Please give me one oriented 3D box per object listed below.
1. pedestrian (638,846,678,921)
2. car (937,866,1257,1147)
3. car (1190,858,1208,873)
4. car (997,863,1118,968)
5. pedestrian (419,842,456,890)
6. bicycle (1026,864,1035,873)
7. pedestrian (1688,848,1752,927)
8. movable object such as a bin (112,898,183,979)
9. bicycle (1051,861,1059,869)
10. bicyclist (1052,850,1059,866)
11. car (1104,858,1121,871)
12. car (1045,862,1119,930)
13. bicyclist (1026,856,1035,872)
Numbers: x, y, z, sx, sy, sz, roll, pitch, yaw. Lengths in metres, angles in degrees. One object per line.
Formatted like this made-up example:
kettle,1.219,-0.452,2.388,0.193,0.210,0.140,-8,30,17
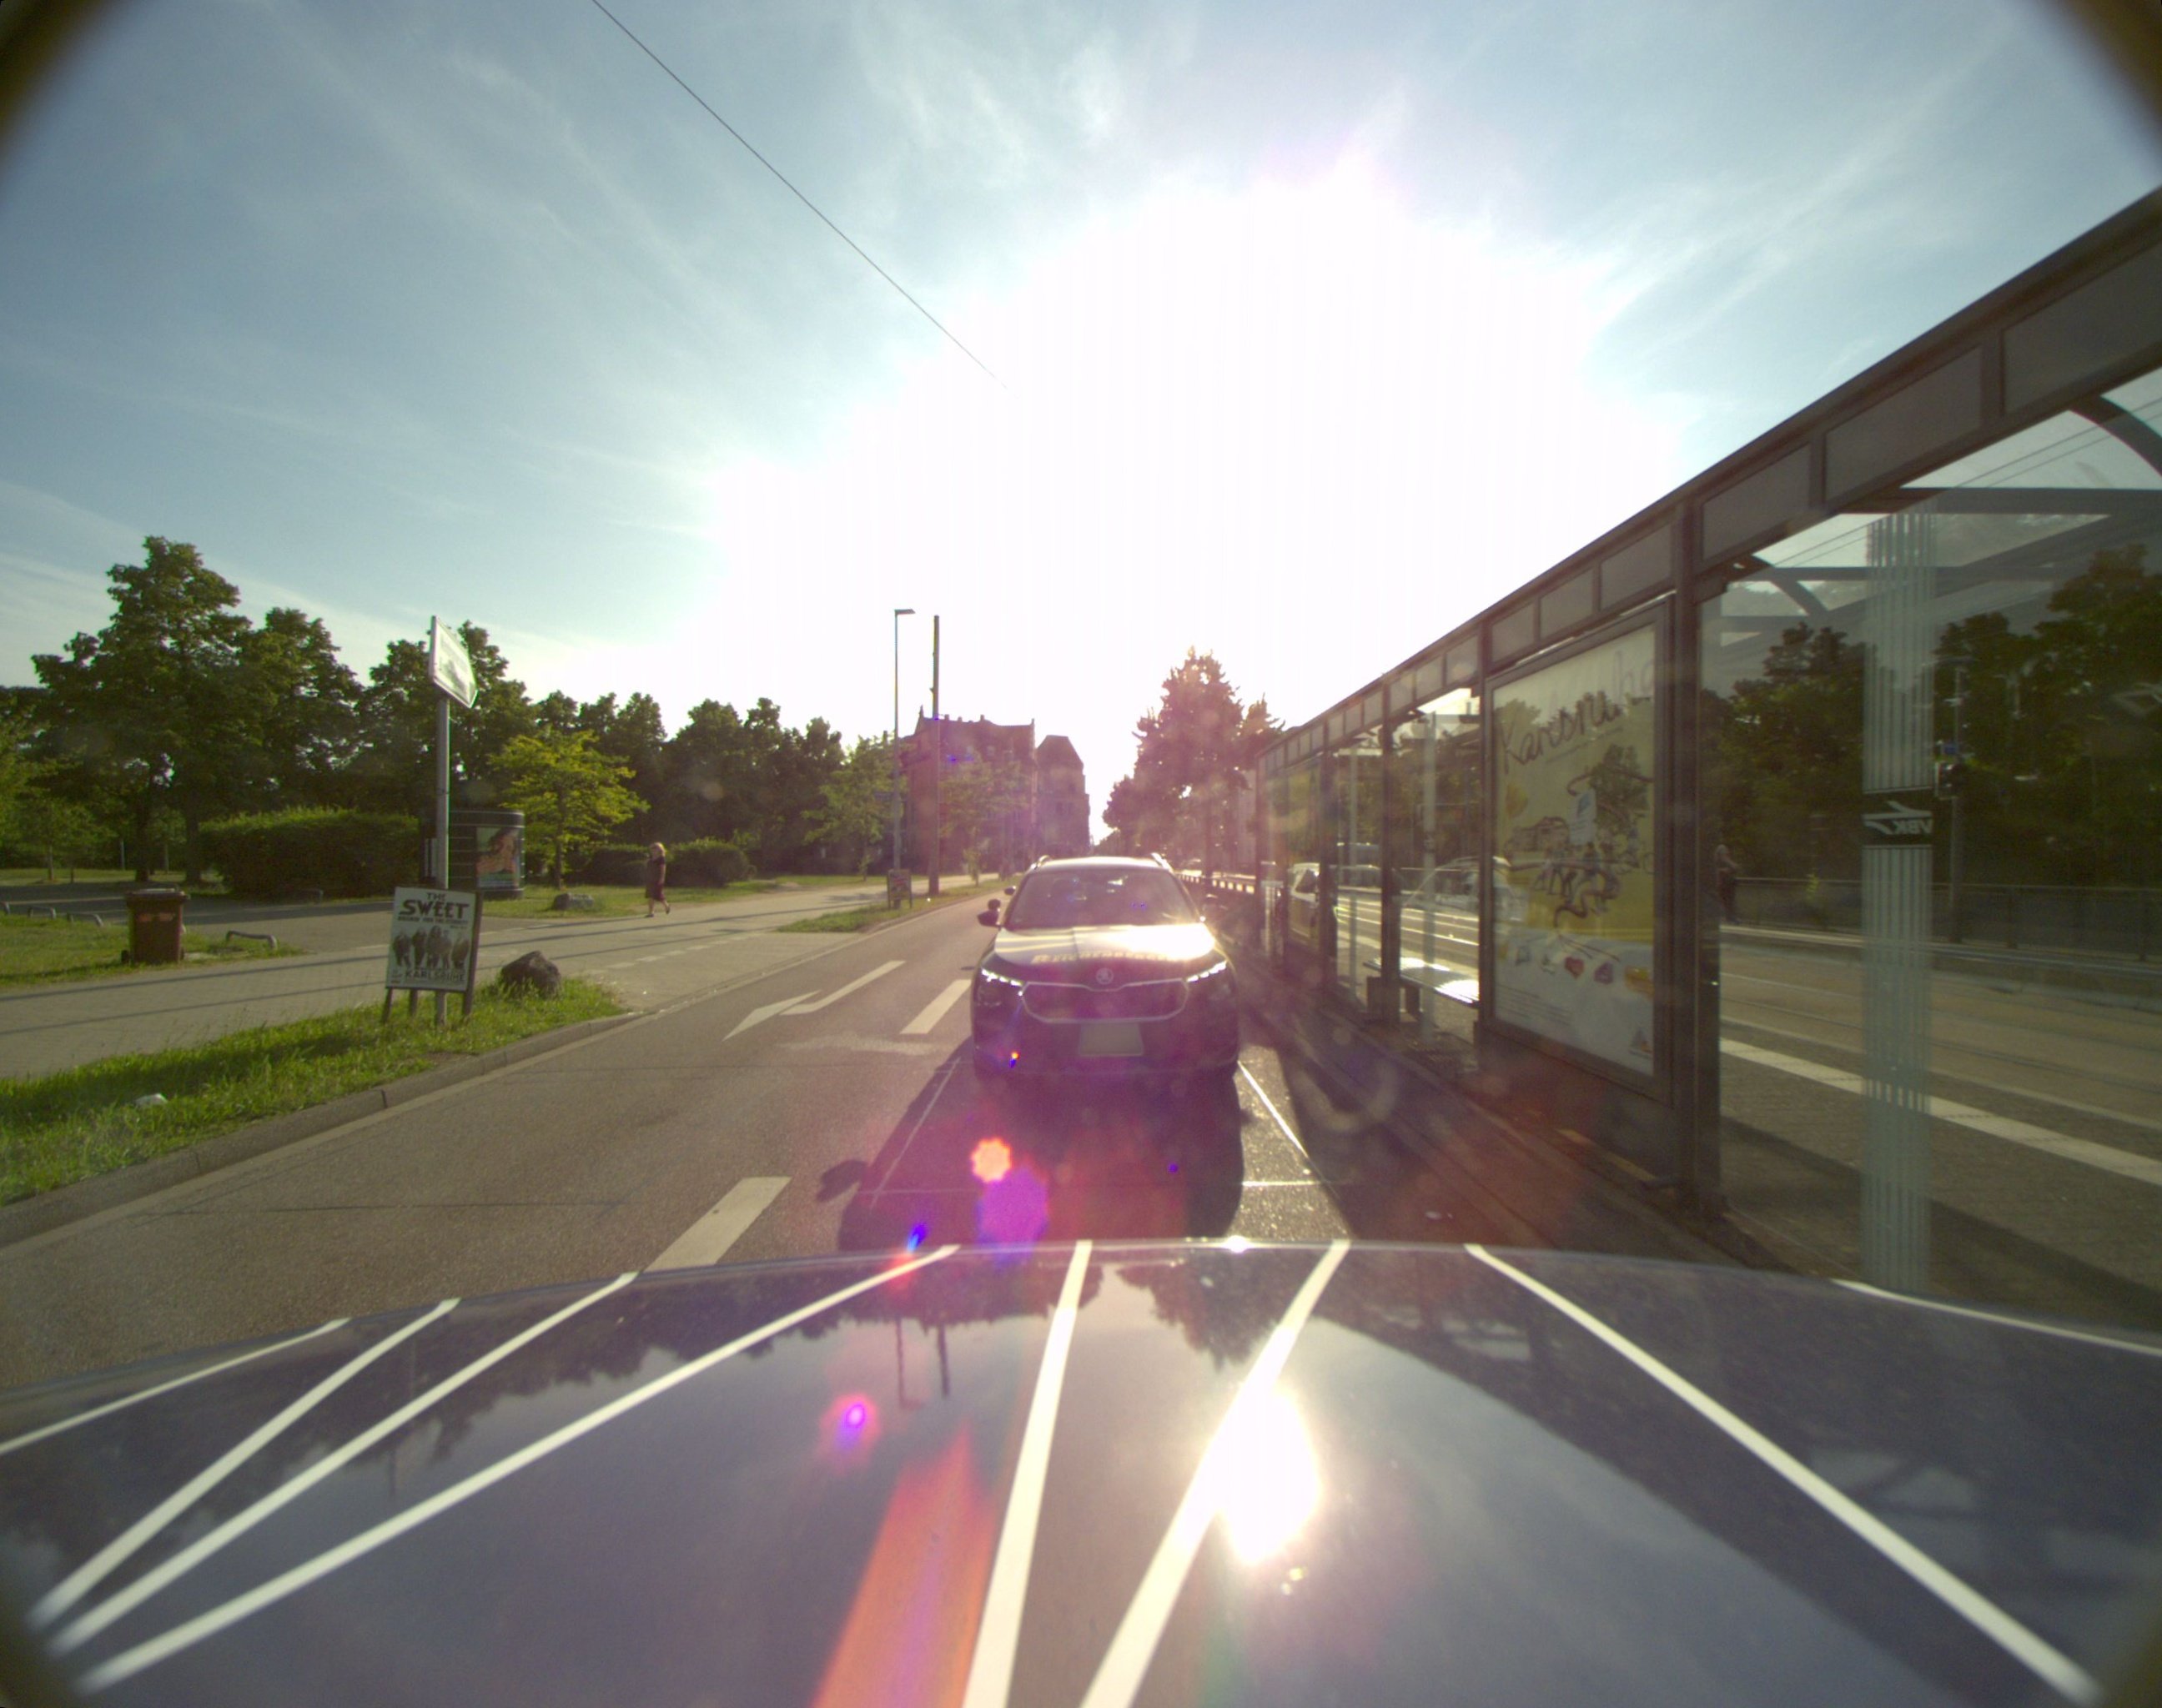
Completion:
pedestrian,-9.760,0.662,17.539,0.558,1.691,0.662,0,1,0
car,0.112,0.885,6.234,1.781,1.496,4.000,0,0,1
car,16.857,1.624,108.780,1.998,2.002,4.000,0,0,0
car,-0.325,0.933,13.232,1.781,1.496,4.000,0,0,1
pedestrian,-28.860,0.528,34.084,0.910,2.145,0.891,0,0,13
bicycle,-5.313,1.499,80.144,0.740,0.912,2.095,0,0,4
pedestrian,13.280,0.683,15.816,0.736,1.618,0.689,0,0,1
movable object such as a bin,-11.349,1.009,9.246,0.502,0.898,0.526,1,1,39
bicycle,-2.795,1.186,82.267,0.740,0.912,2.094,0,0,0
bicyclist,-2.758,0.448,82.415,0.730,1.763,1.015,0,0,-1
car,4.224,1.450,101.837,1.999,1.674,3.999,0,0,-1
car,0.053,0.964,19.076,1.672,1.496,3.872,0,0,1
bicyclist,-5.314,1.053,80.210,0.753,1.763,1.119,0,0,5
